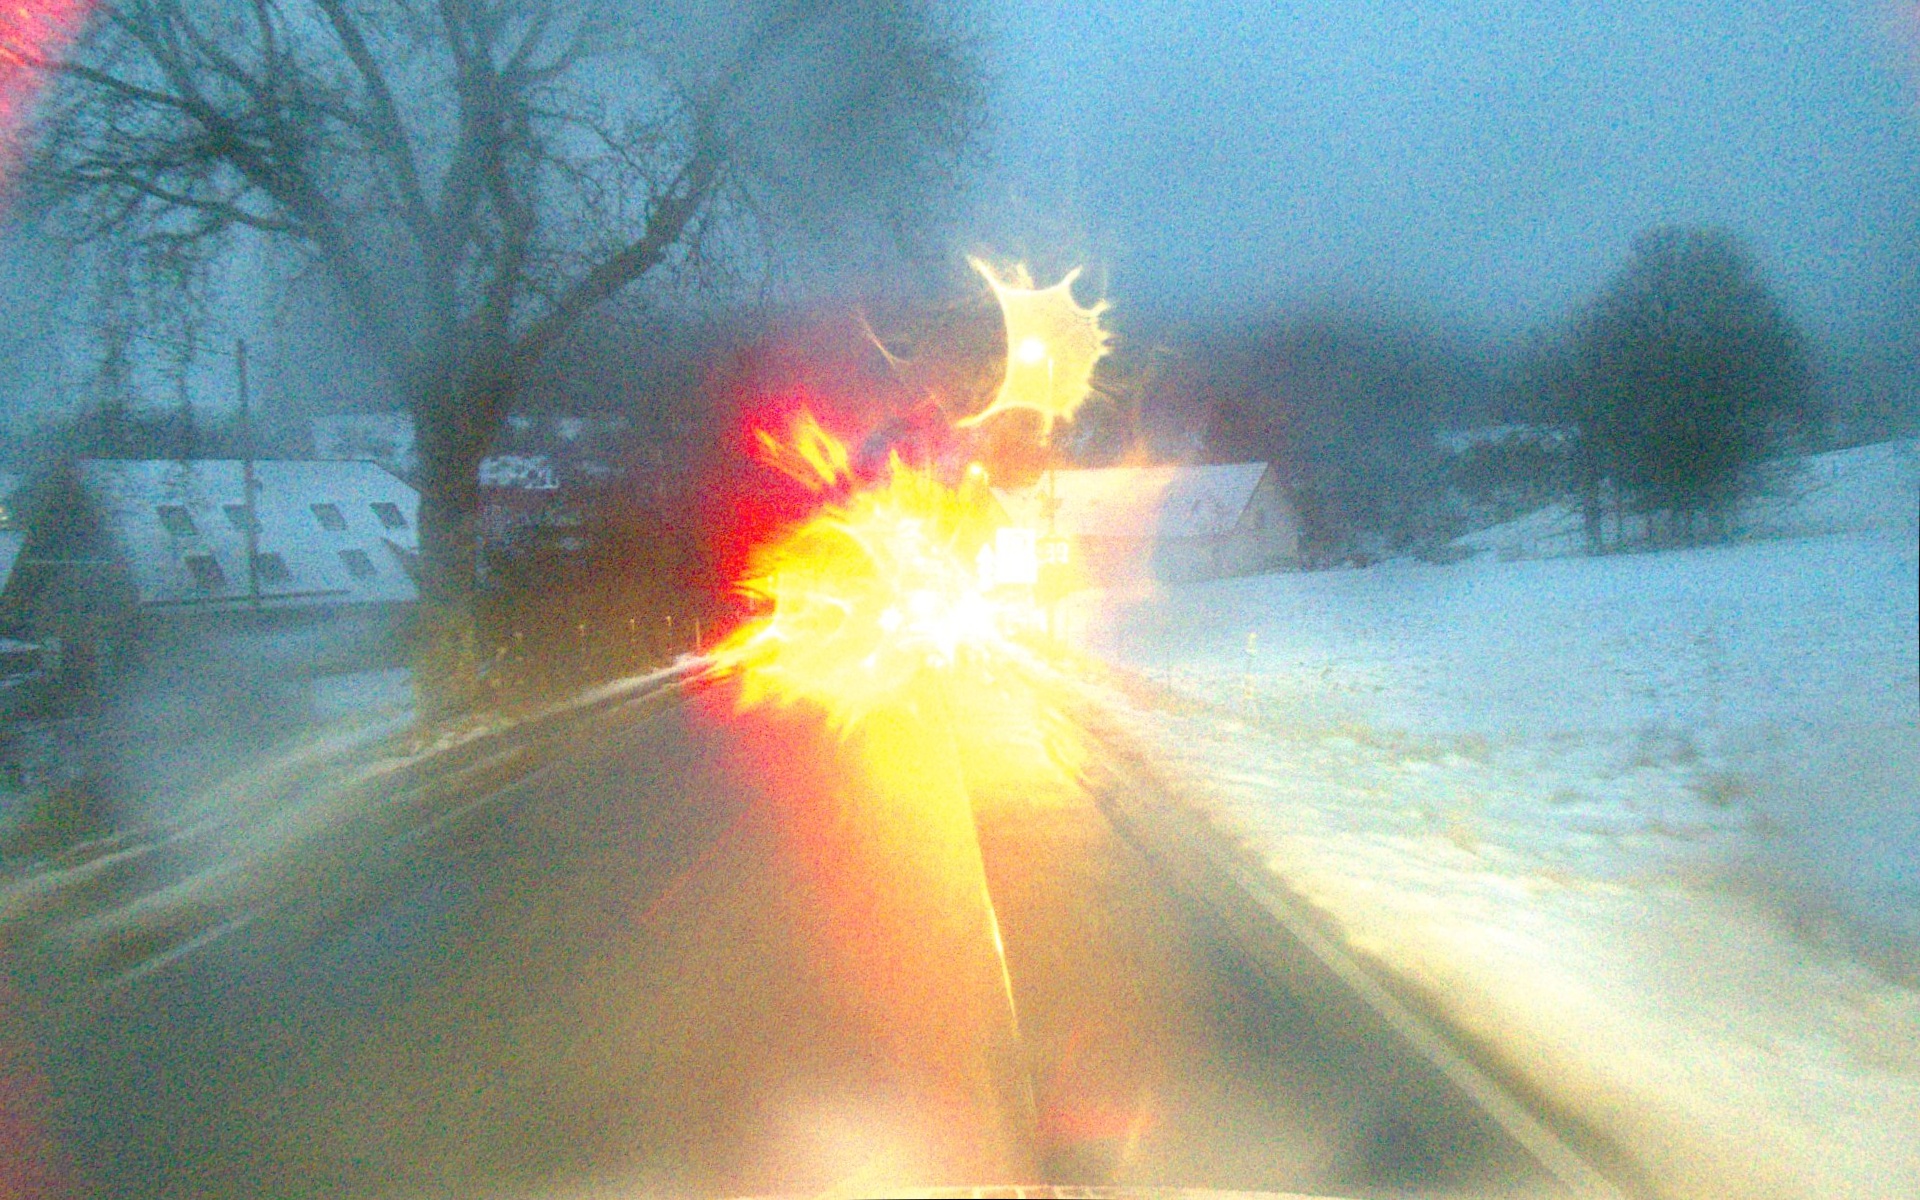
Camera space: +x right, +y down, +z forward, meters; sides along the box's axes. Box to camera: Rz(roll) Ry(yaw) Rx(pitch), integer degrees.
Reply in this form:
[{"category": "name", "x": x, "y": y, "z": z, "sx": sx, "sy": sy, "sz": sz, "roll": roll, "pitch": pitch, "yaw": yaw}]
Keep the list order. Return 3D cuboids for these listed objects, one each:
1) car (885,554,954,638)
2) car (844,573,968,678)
[{"category": "car", "x": -1.535, "y": -0.081, "z": 64.502, "sx": 2.385, "sy": 3.072, "sz": 5.325, "roll": -2, "pitch": -2, "yaw": 1}, {"category": "car", "x": -1.057, "y": 0.478, "z": 32.384, "sx": 2.228, "sy": 1.873, "sz": 5.004, "roll": 0, "pitch": 0, "yaw": -2}]
